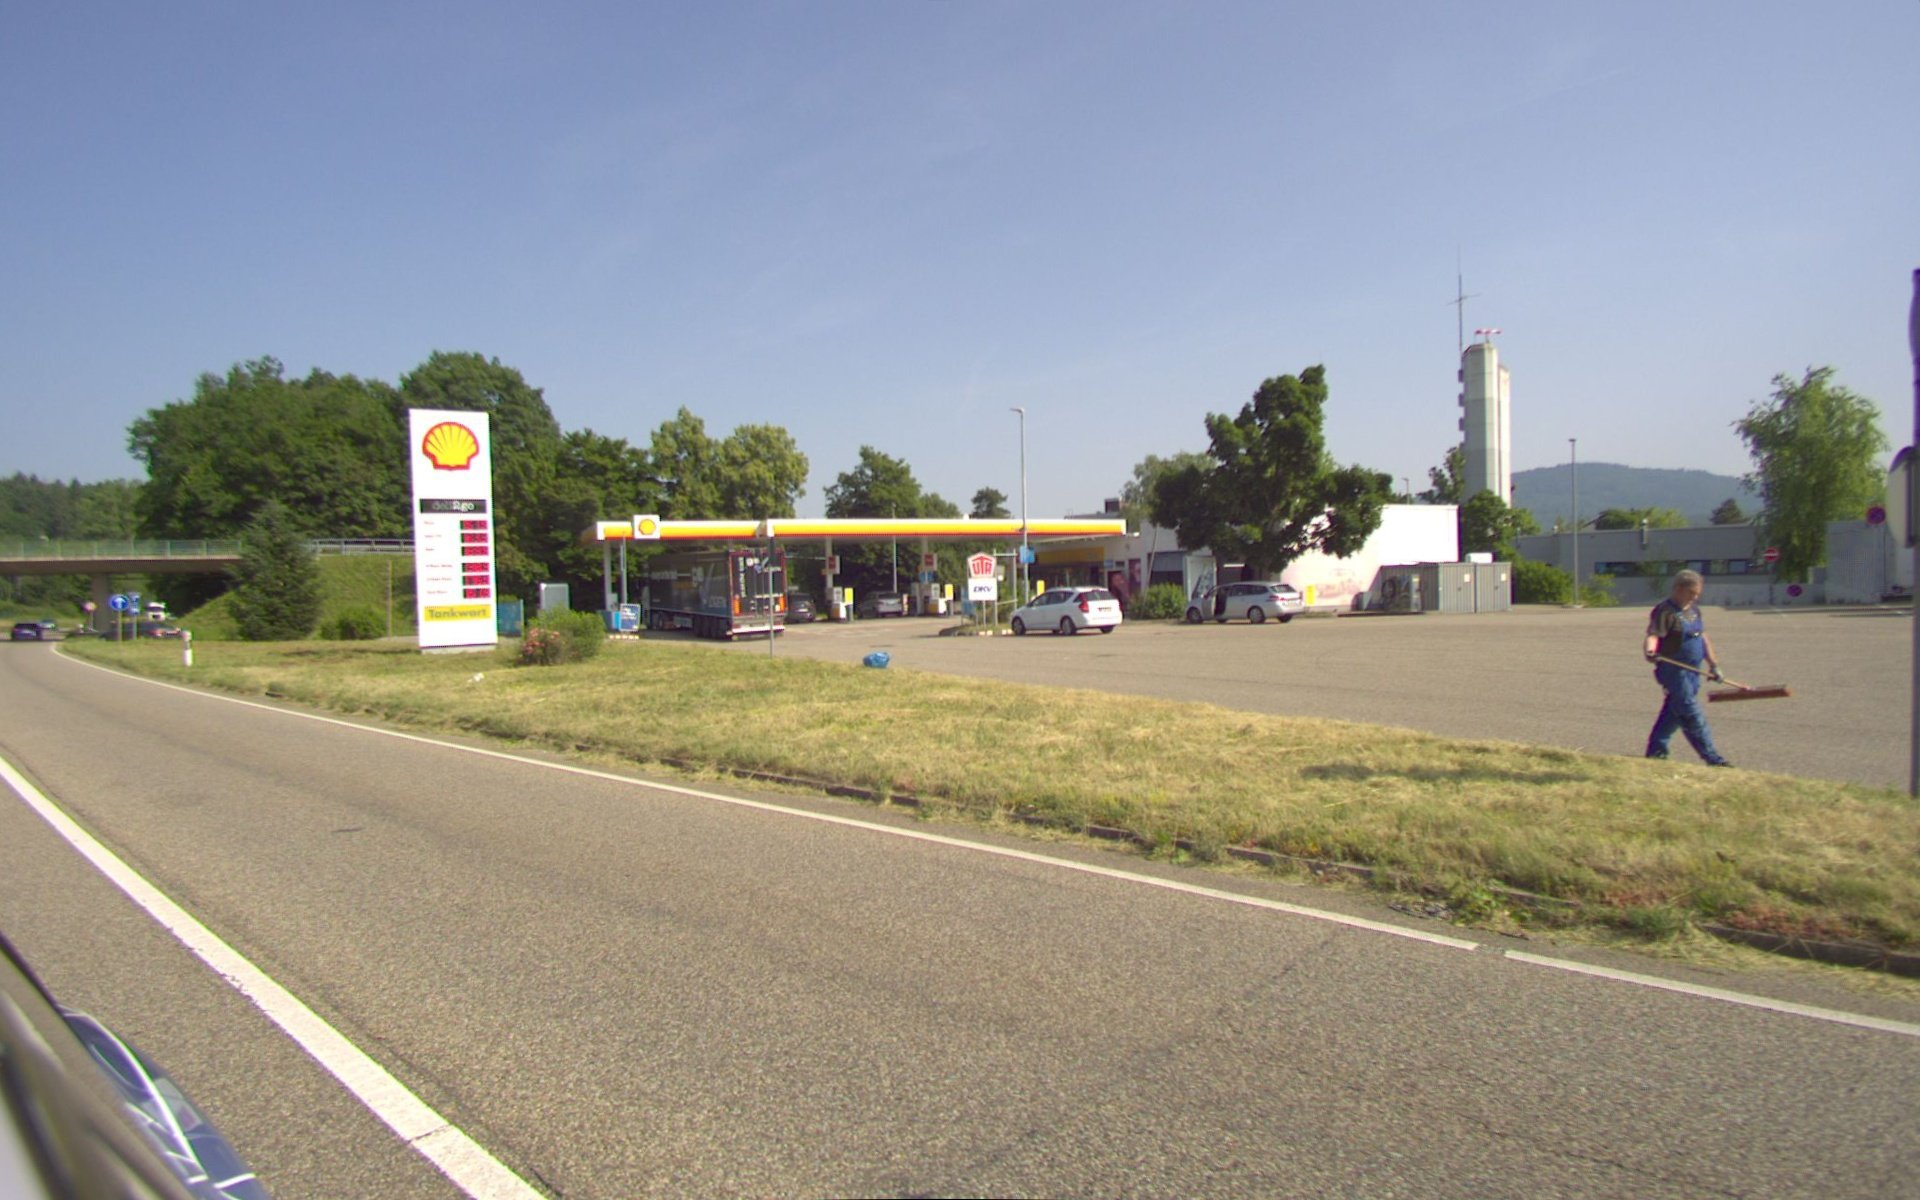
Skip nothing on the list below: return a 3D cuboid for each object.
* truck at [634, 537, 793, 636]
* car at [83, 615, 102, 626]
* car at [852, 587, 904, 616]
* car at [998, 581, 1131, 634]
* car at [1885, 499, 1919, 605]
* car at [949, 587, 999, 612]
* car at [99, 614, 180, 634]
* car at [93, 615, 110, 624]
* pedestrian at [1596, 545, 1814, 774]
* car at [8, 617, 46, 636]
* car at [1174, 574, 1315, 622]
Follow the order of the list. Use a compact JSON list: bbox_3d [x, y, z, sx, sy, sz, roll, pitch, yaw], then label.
[{"bbox_3d":[-12.817,-0.538,50.536,3.010,4.165,16.823,0,0,-30],"label":"truck"},{"bbox_3d":[-108.455,2.514,126.462,1.657,1.366,3.927,1,-1,-42],"label":"car"},{"bbox_3d":[-5.030,0.067,61.655,1.877,1.654,4.013,-2,1,-23],"label":"car"},{"bbox_3d":[3.284,0.243,32.789,1.692,1.578,4.670,-1,0,-34],"label":"car"},{"bbox_3d":[28.998,-1.361,26.711,6.519,2.877,2.372,-1,0,38],"label":"car"},{"bbox_3d":[0.859,-0.040,63.793,1.965,1.470,4.012,-2,1,-17],"label":"car"},{"bbox_3d":[-50.761,1.490,62.623,4.060,1.181,1.801,0,-1,14],"label":"car"},{"bbox_3d":[-123.346,2.777,145.388,1.657,1.366,3.927,1,-1,-42],"label":"car"},{"bbox_3d":[6.008,0.440,8.211,0.835,1.702,1.148,0,0,-24],"label":"pedestrian"},{"bbox_3d":[-68.552,1.911,74.395,1.655,1.366,3.931,1,-1,-37],"label":"car"},{"bbox_3d":[10.024,-0.046,35.923,1.694,1.578,4.665,-1,0,-40],"label":"car"}]
